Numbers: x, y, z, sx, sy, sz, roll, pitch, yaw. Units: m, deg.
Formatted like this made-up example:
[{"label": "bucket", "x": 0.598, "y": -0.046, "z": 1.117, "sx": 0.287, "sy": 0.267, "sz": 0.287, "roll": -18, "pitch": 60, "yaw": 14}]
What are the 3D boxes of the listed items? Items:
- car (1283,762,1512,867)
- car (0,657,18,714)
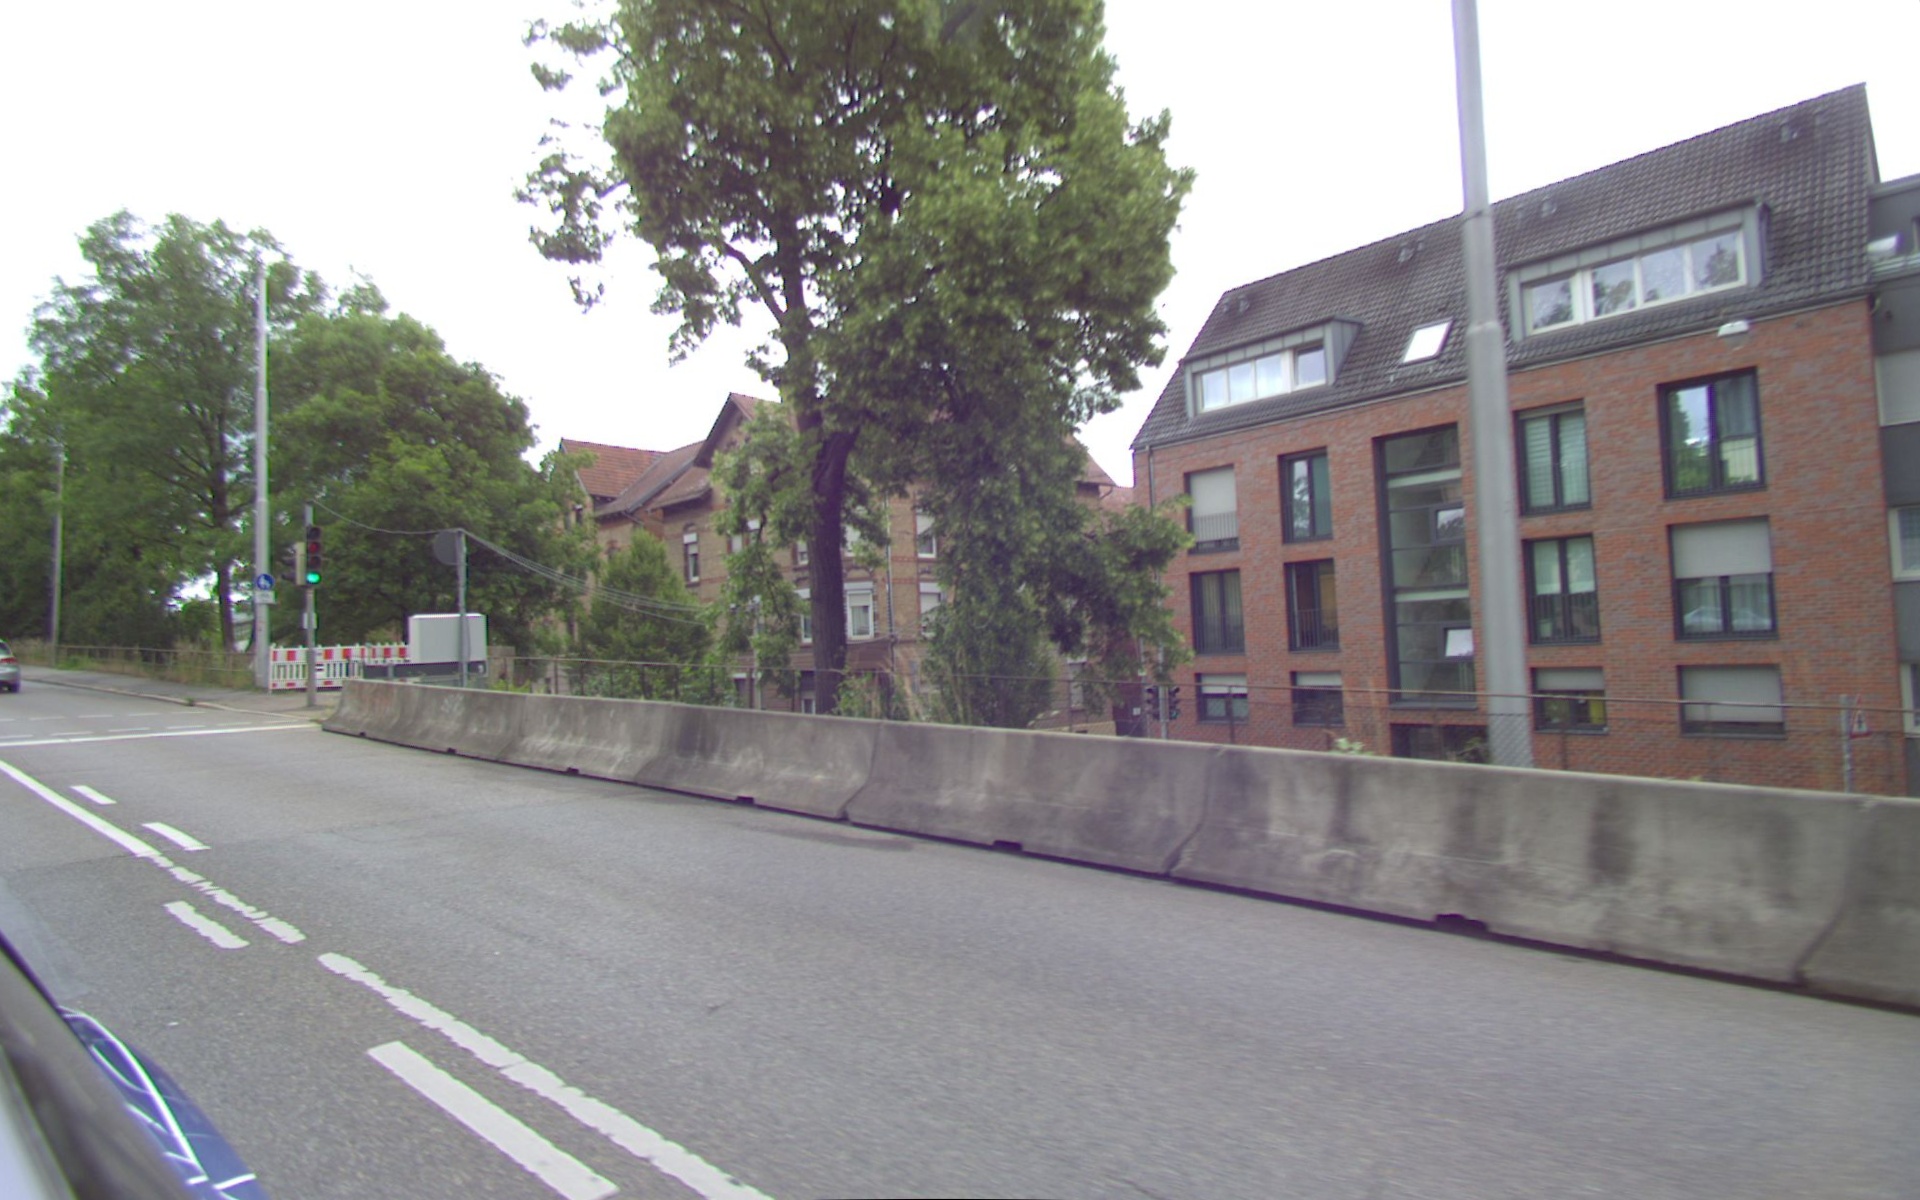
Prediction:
[{"label": "car", "x": 9.039, "y": 4.370, "z": 21.138, "sx": 1.773, "sy": 1.522, "sz": 4.004, "roll": 3, "pitch": -4, "yaw": -43}, {"label": "car", "x": -26.809, "y": 2.298, "z": 27.165, "sx": 4.155, "sy": 1.456, "sz": 1.703, "roll": -2, "pitch": -2, "yaw": 40}]
